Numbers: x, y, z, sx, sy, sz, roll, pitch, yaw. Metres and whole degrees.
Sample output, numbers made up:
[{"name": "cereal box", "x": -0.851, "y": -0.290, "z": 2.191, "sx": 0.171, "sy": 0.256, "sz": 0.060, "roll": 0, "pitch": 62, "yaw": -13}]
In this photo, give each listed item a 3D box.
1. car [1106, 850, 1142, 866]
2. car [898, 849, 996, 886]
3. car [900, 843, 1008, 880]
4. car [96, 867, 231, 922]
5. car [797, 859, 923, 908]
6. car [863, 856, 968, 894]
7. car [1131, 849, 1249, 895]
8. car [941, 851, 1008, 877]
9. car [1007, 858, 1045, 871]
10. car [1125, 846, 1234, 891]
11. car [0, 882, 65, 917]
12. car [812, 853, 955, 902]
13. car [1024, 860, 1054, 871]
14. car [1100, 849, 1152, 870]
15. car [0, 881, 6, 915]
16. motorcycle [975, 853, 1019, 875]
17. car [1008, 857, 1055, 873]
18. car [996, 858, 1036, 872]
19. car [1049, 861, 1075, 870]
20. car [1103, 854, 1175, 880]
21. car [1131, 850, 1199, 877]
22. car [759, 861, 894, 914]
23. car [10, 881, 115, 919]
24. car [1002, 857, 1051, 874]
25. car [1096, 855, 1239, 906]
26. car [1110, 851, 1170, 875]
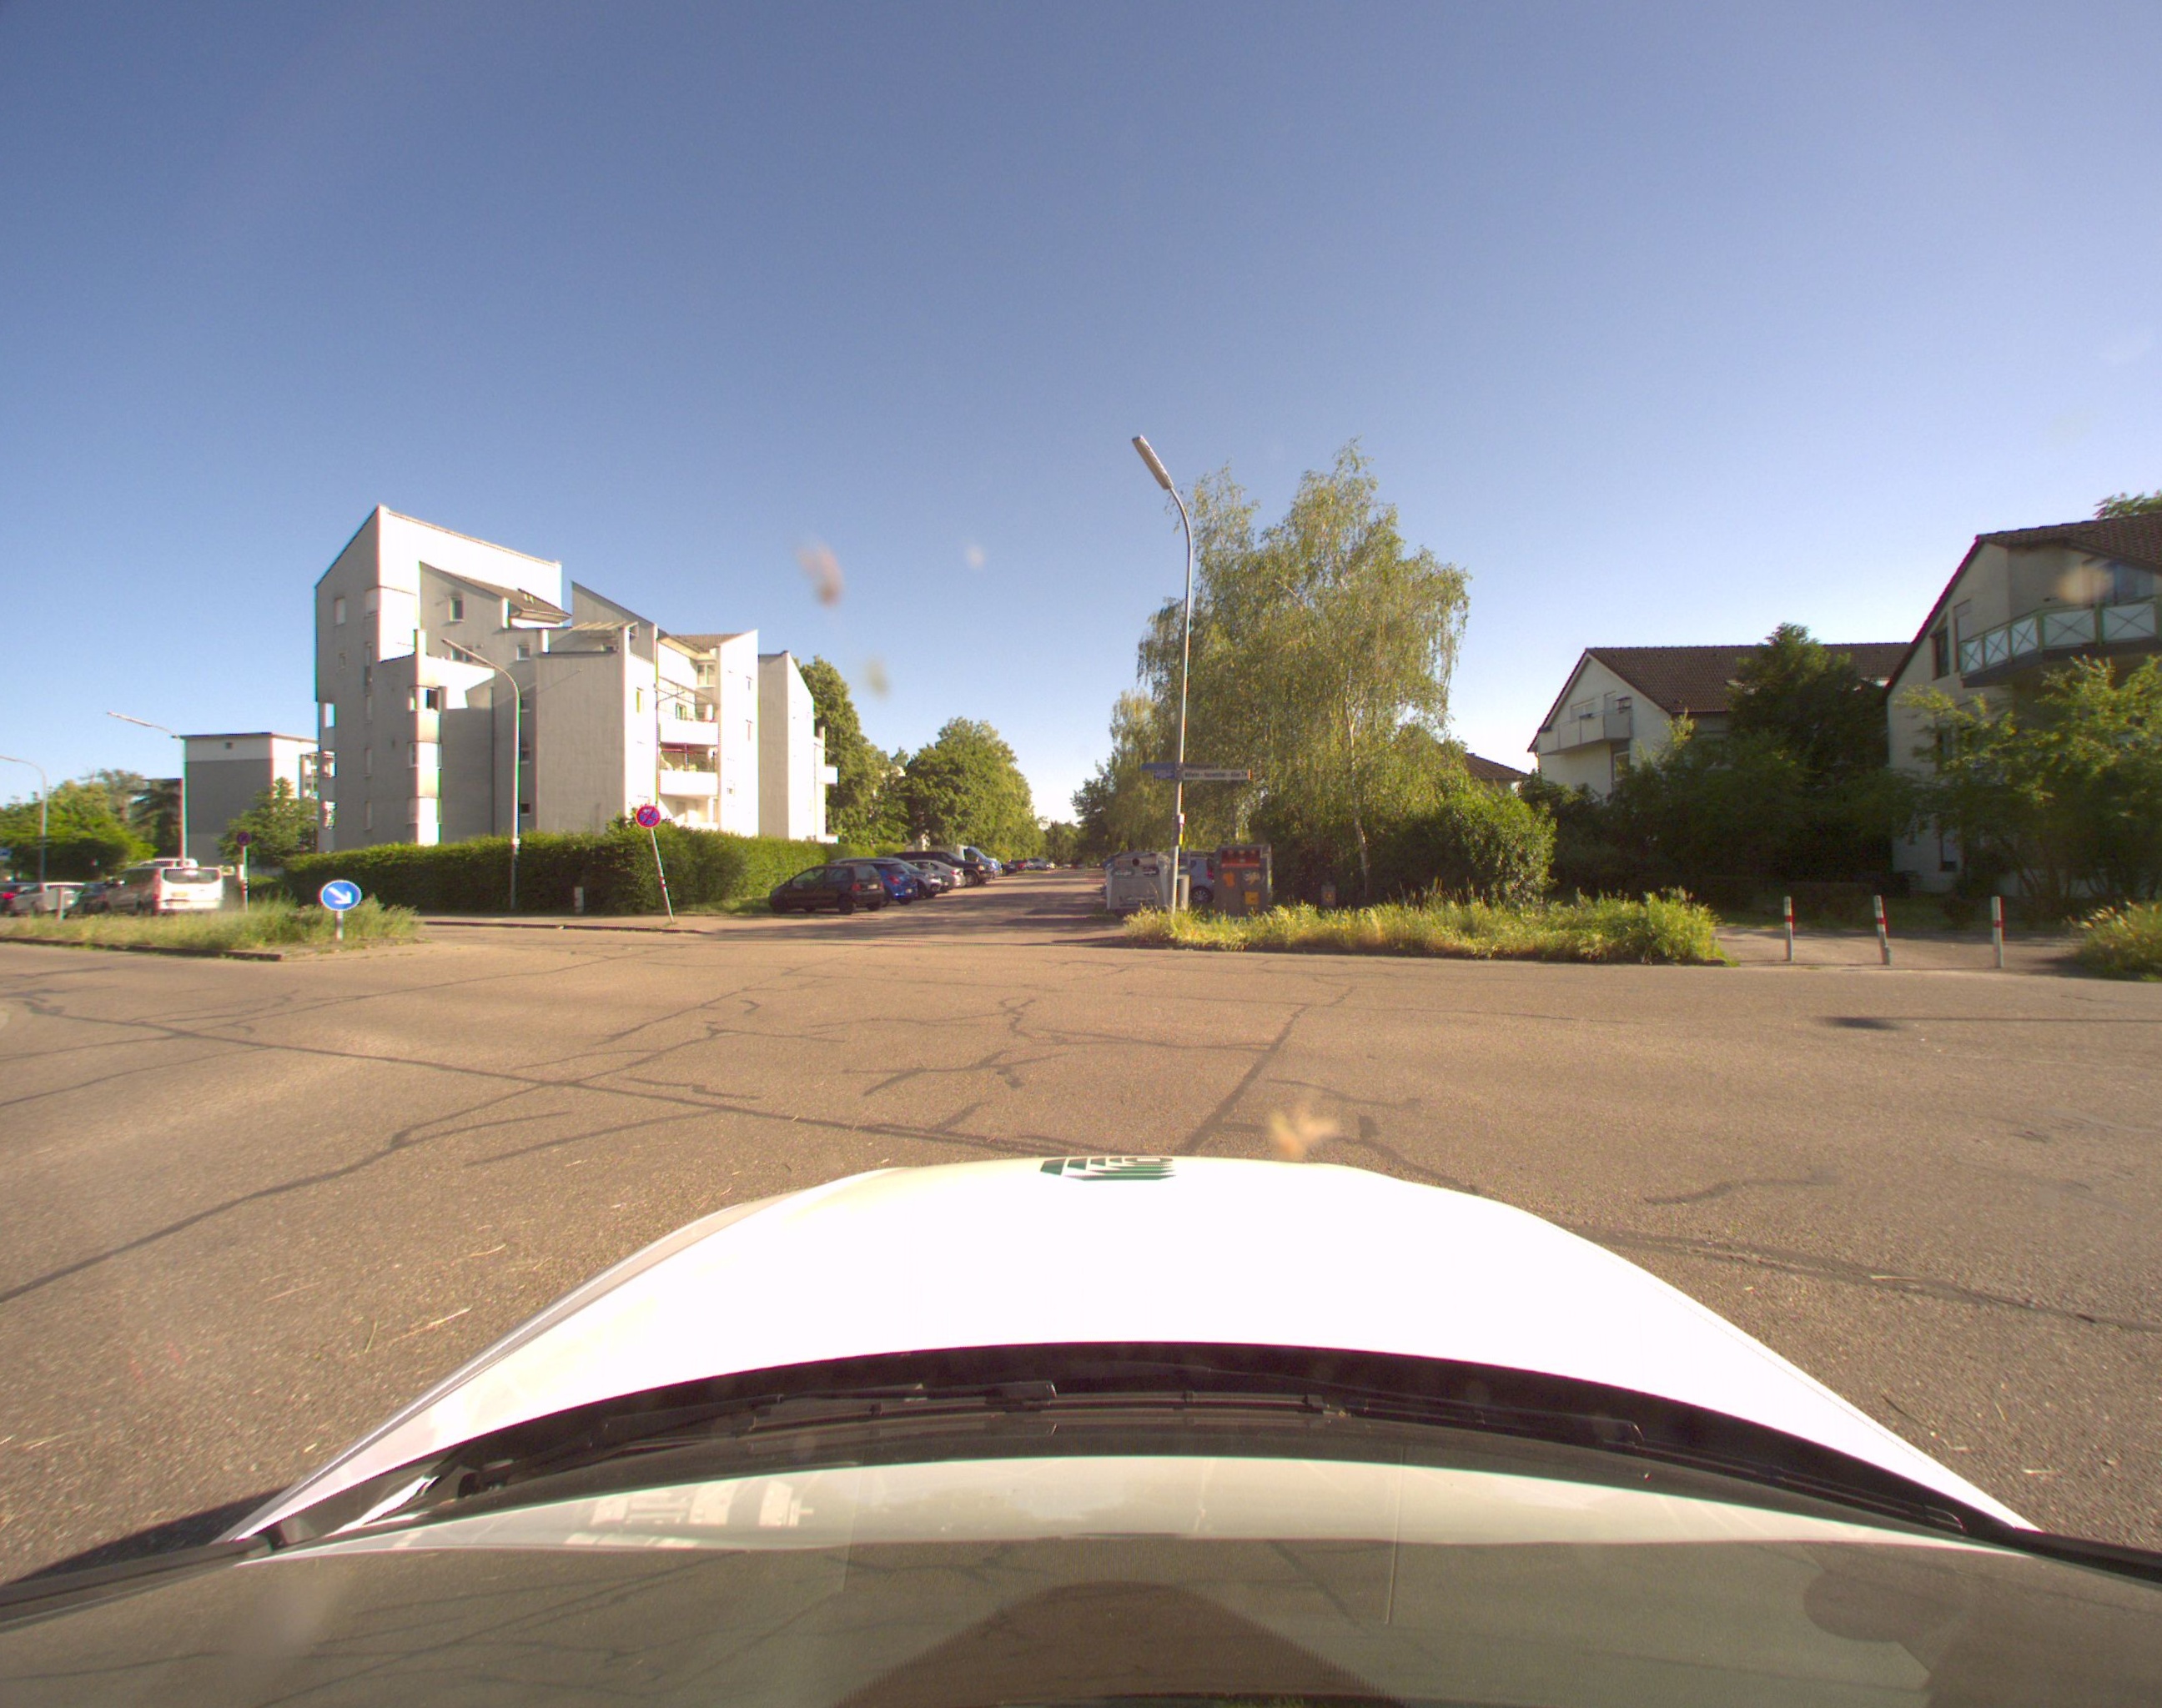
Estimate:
[{"name": "car", "x": 4.861, "y": 0.467, "z": 91.742, "sx": 3.968, "sy": 1.708, "sz": 1.800, "roll": 0, "pitch": -1, "yaw": 5}, {"name": "car", "x": -6.753, "y": 0.684, "z": 41.194, "sx": 4.499, "sy": 1.771, "sz": 1.850, "roll": -1, "pitch": 0, "yaw": 6}, {"name": "car", "x": -7.721, "y": 0.443, "z": 50.081, "sx": 6.237, "sy": 2.147, "sz": 2.410, "roll": -1, "pitch": 0, "yaw": -1}, {"name": "car", "x": -34.327, "y": 1.485, "z": 30.463, "sx": 4.892, "sy": 1.912, "sz": 2.011, "roll": -2, "pitch": -1, "yaw": 25}, {"name": "car", "x": -7.340, "y": 0.967, "z": 27.174, "sx": 3.653, "sy": 1.496, "sz": 1.658, "roll": -2, "pitch": 0, "yaw": 14}, {"name": "car", "x": -7.076, "y": 0.907, "z": 35.139, "sx": 4.131, "sy": 1.455, "sz": 1.619, "roll": -2, "pitch": -1, "yaw": -1}, {"name": "car", "x": 3.934, "y": 0.639, "z": 29.855, "sx": 4.044, "sy": 1.603, "sz": 1.789, "roll": 0, "pitch": 1, "yaw": -4}, {"name": "car", "x": -7.607, "y": 0.715, "z": 58.375, "sx": 4.504, "sy": 1.771, "sz": 1.848, "roll": -1, "pitch": 0, "yaw": 2}, {"name": "car", "x": -5.963, "y": 1.168, "z": 88.963, "sx": 3.926, "sy": 1.334, "sz": 1.847, "roll": -1, "pitch": 0, "yaw": 1}, {"name": "car", "x": 3.916, "y": 0.551, "z": 32.819, "sx": 4.097, "sy": 1.706, "sz": 1.788, "roll": 0, "pitch": 1, "yaw": -5}, {"name": "car", "x": -48.714, "y": 2.082, "z": 37.267, "sx": 4.320, "sy": 1.488, "sz": 1.927, "roll": -2, "pitch": -1, "yaw": 27}, {"name": "car", "x": -7.517, "y": 0.881, "z": 31.200, "sx": 4.965, "sy": 1.654, "sz": 1.788, "roll": -2, "pitch": 0, "yaw": 7}, {"name": "car", "x": -5.595, "y": 1.573, "z": 108.999, "sx": 3.926, "sy": 1.334, "sz": 1.847, "roll": -1, "pitch": 0, "yaw": 1}, {"name": "car", "x": 3.509, "y": 0.414, "z": 63.195, "sx": 3.968, "sy": 1.585, "sz": 1.800, "roll": 0, "pitch": -1, "yaw": 5}, {"name": "car", "x": -56.807, "y": 2.272, "z": 41.357, "sx": 4.320, "sy": 1.666, "sz": 1.927, "roll": -2, "pitch": -1, "yaw": 27}, {"name": "motorcycle", "x": -6.443, "y": 0.751, "z": 62.531, "sx": 3.177, "sy": 1.596, "sz": 0.924, "roll": -1, "pitch": 0, "yaw": 3}, {"name": "car", "x": -4.310, "y": 0.955, "z": 71.400, "sx": 3.926, "sy": 1.334, "sz": 1.847, "roll": -1, "pitch": 0, "yaw": 1}, {"name": "car", "x": -6.825, "y": 1.157, "z": 85.682, "sx": 3.926, "sy": 1.334, "sz": 1.847, "roll": -1, "pitch": 0, "yaw": 1}, {"name": "car", "x": -2.775, "y": 1.602, "z": 117.994, "sx": 3.632, "sy": 1.212, "sz": 1.847, "roll": -1, "pitch": 0, "yaw": 1}, {"name": "car", "x": 3.290, "y": 0.714, "z": 45.829, "sx": 3.968, "sy": 1.401, "sz": 1.800, "roll": 0, "pitch": -1, "yaw": 5}, {"name": "car", "x": 5.039, "y": 0.591, "z": 48.776, "sx": 3.968, "sy": 1.585, "sz": 1.800, "roll": 0, "pitch": -1, "yaw": 5}, {"name": "car", "x": -7.681, "y": 0.984, "z": 24.652, "sx": 3.493, "sy": 1.466, "sz": 1.712, "roll": -1, "pitch": 0, "yaw": 18}, {"name": "car", "x": -43.633, "y": 1.943, "z": 34.872, "sx": 4.320, "sy": 1.488, "sz": 1.927, "roll": -2, "pitch": -1, "yaw": 27}, {"name": "car", "x": -4.535, "y": 0.951, "z": 68.508, "sx": 3.926, "sy": 1.334, "sz": 1.847, "roll": -1, "pitch": 0, "yaw": 1}, {"name": "car", "x": 2.593, "y": 0.749, "z": 24.277, "sx": 4.023, "sy": 1.439, "sz": 1.641, "roll": 0, "pitch": 0, "yaw": 14}, {"name": "car", "x": 3.964, "y": 0.598, "z": 54.690, "sx": 3.968, "sy": 1.585, "sz": 1.800, "roll": 0, "pitch": -1, "yaw": 5}]
